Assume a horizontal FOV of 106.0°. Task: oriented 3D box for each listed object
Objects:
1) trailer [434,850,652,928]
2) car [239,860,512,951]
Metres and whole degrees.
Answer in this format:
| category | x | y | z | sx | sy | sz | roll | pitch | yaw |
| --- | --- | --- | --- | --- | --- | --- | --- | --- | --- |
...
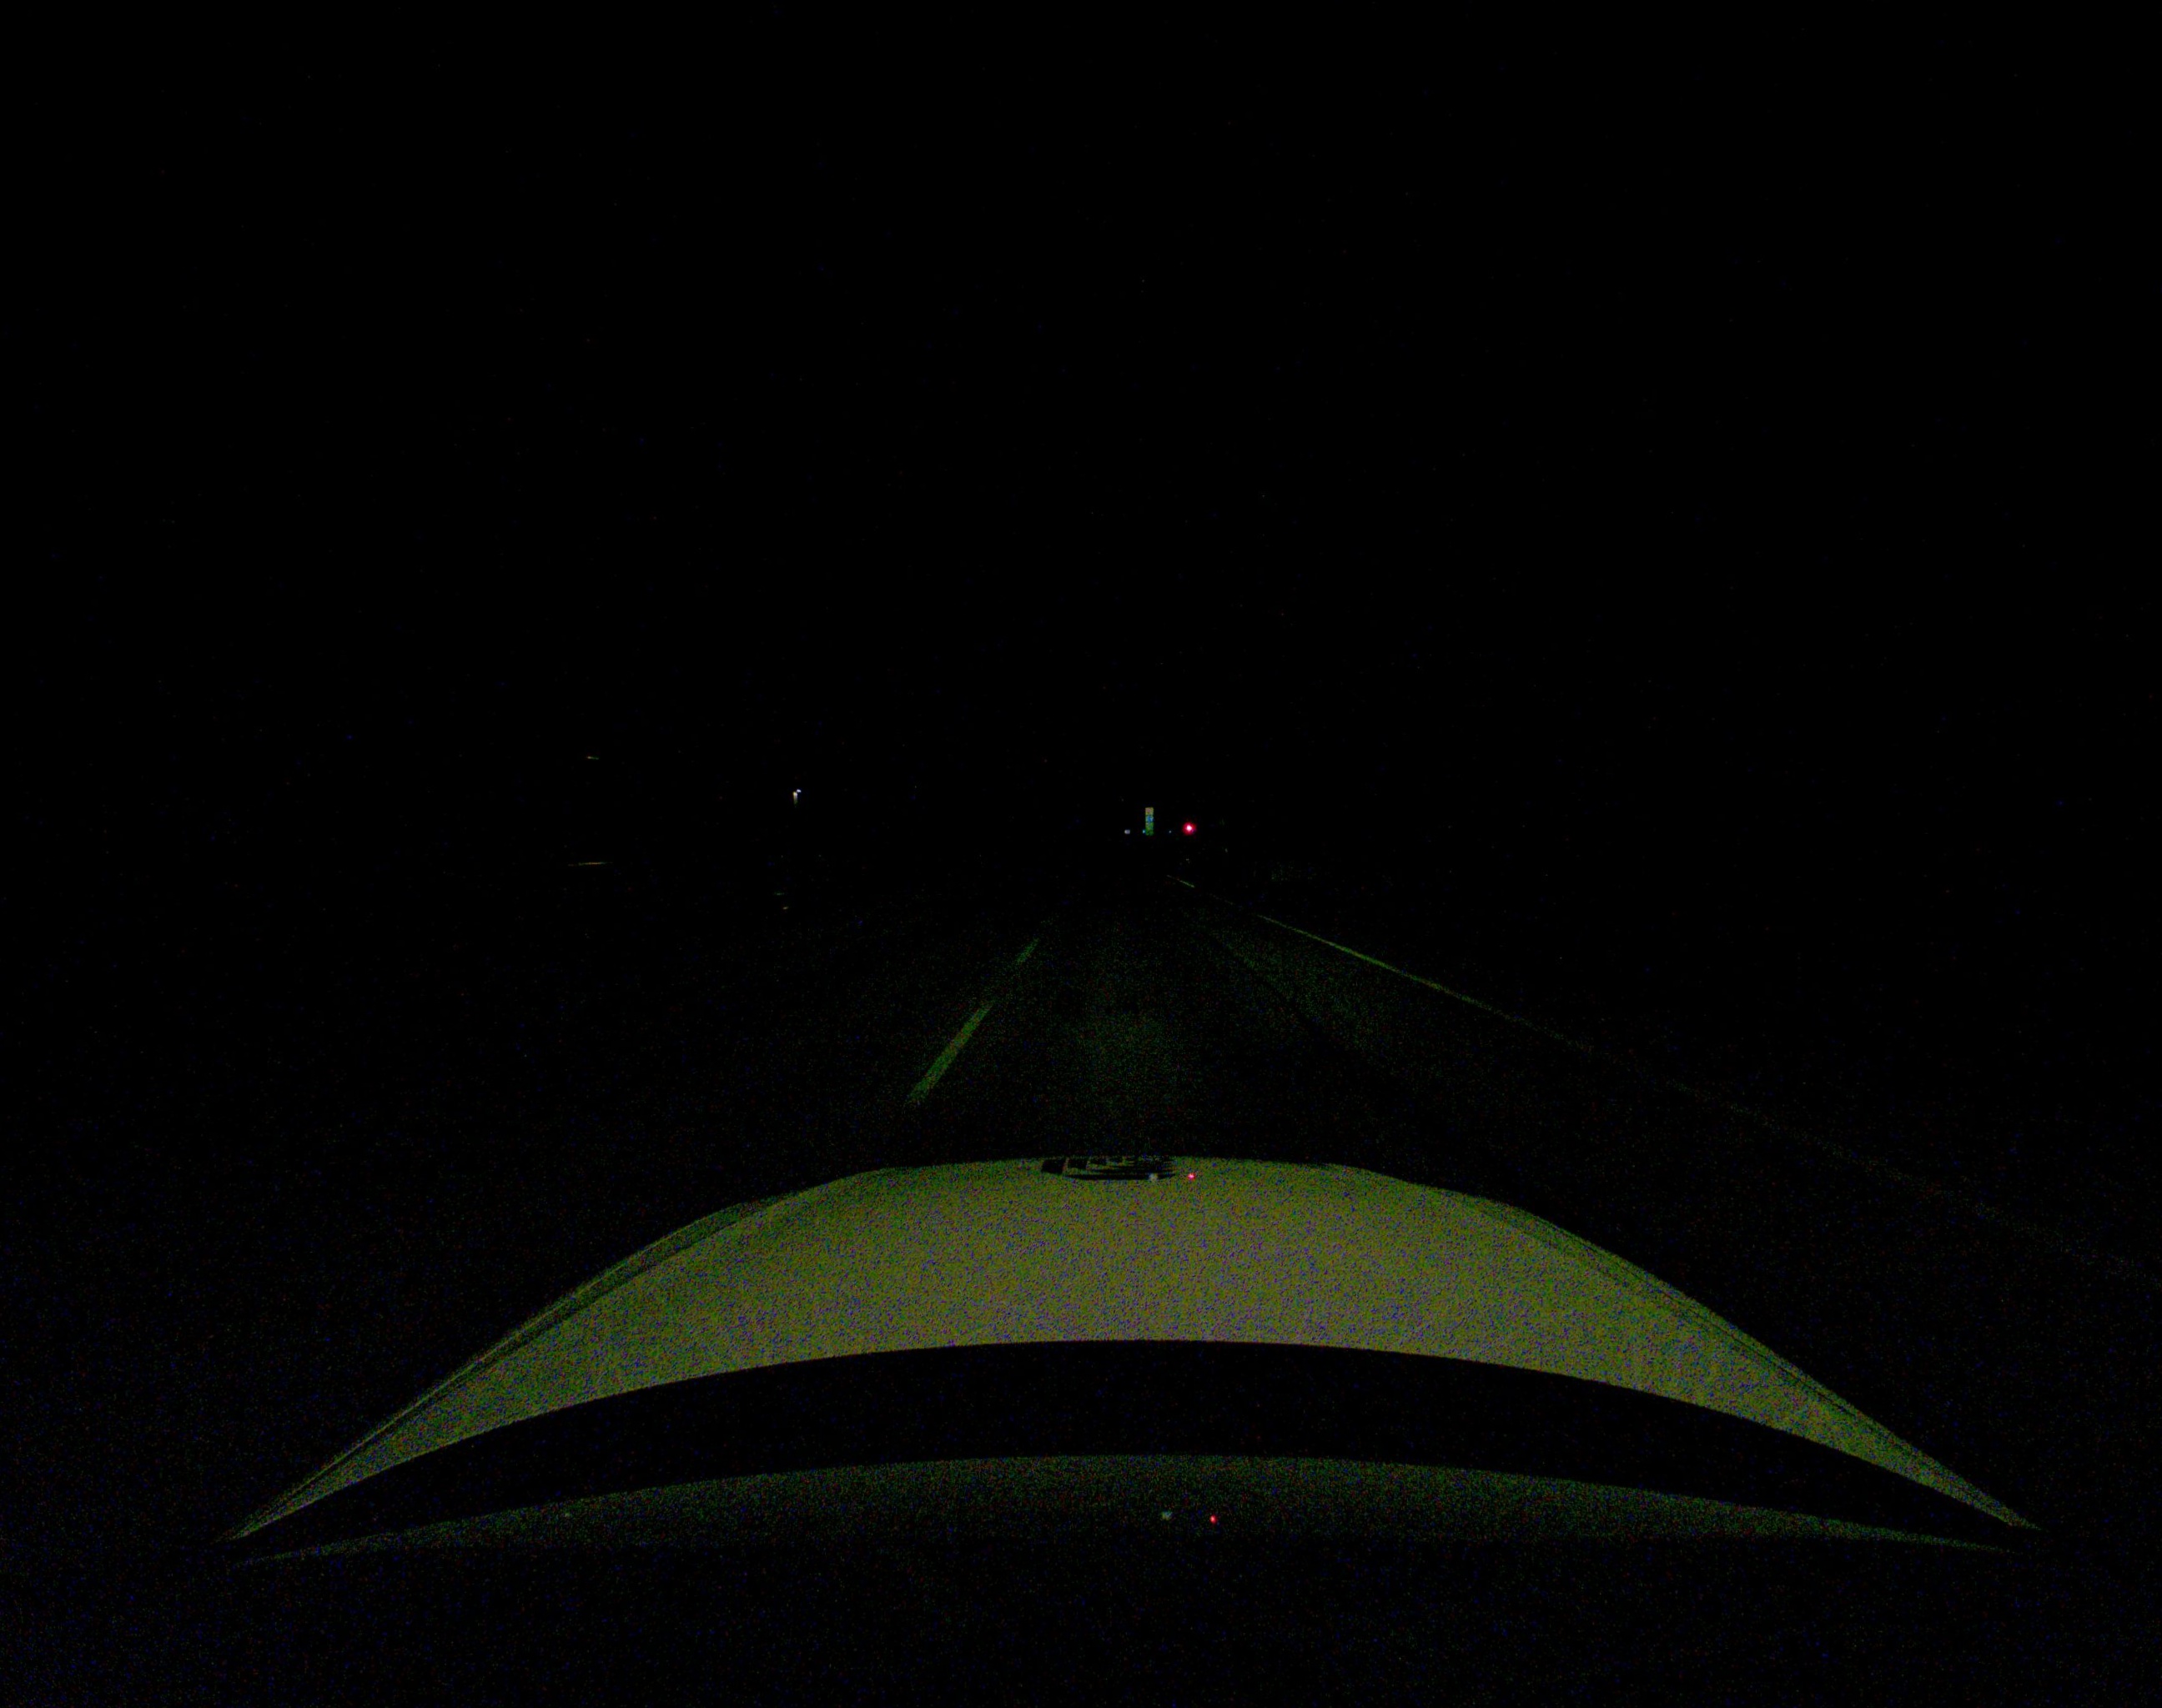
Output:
| category | x | y | z | sx | sy | sz | roll | pitch | yaw |
| --- | --- | --- | --- | --- | --- | --- | --- | --- | --- |
| trailer | -14.740 | 0.850 | 22.880 | 2.016 | 1.780 | 5.678 | -4 | 0 | 3 |
| car | -15.009 | 1.001 | 17.746 | 1.709 | 1.577 | 4.539 | -5 | -1 | 3 |
